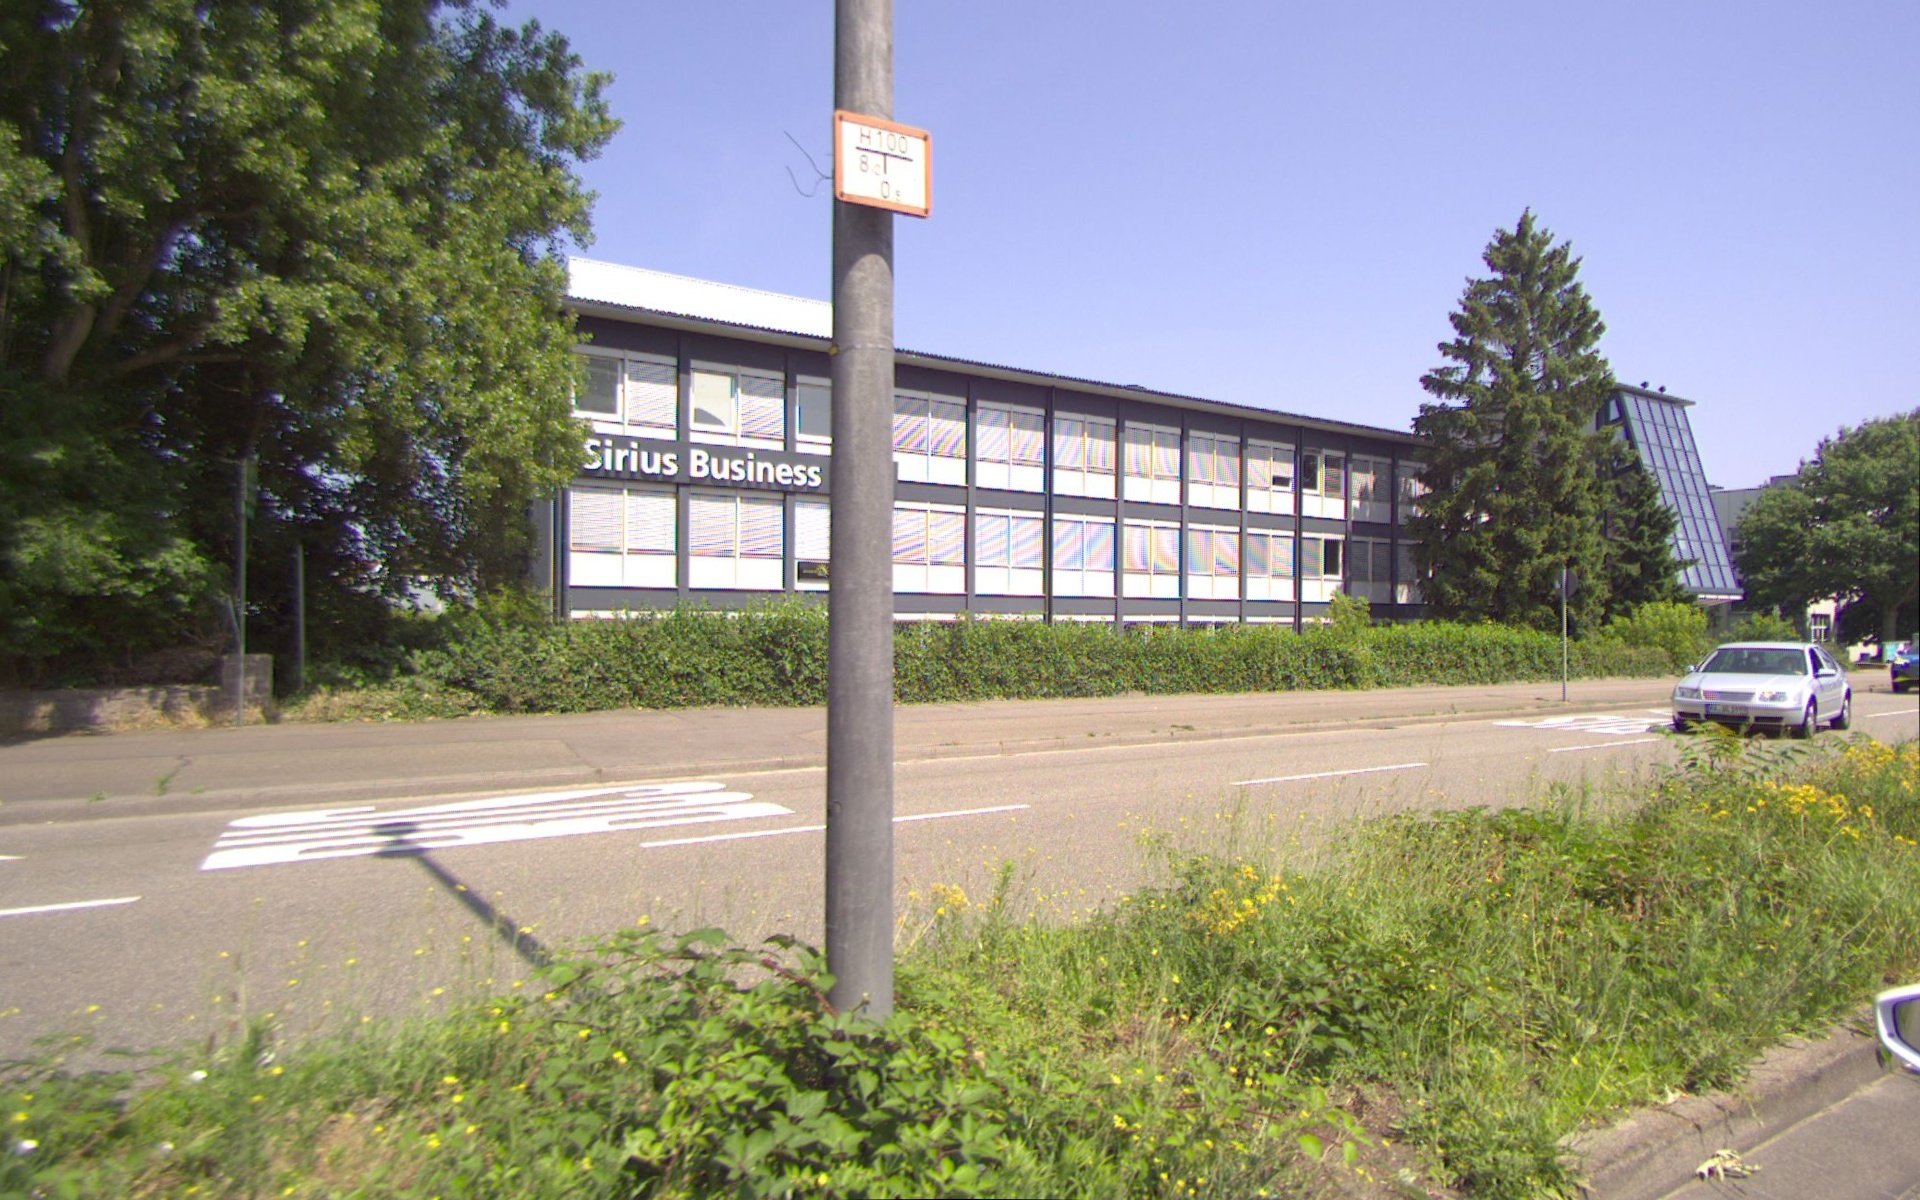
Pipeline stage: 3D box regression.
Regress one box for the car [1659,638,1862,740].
[{"bbox_3d":[13.149,1.350,16.416,4.334,1.431,1.722,2,-2,-39],"label":"car"}]
